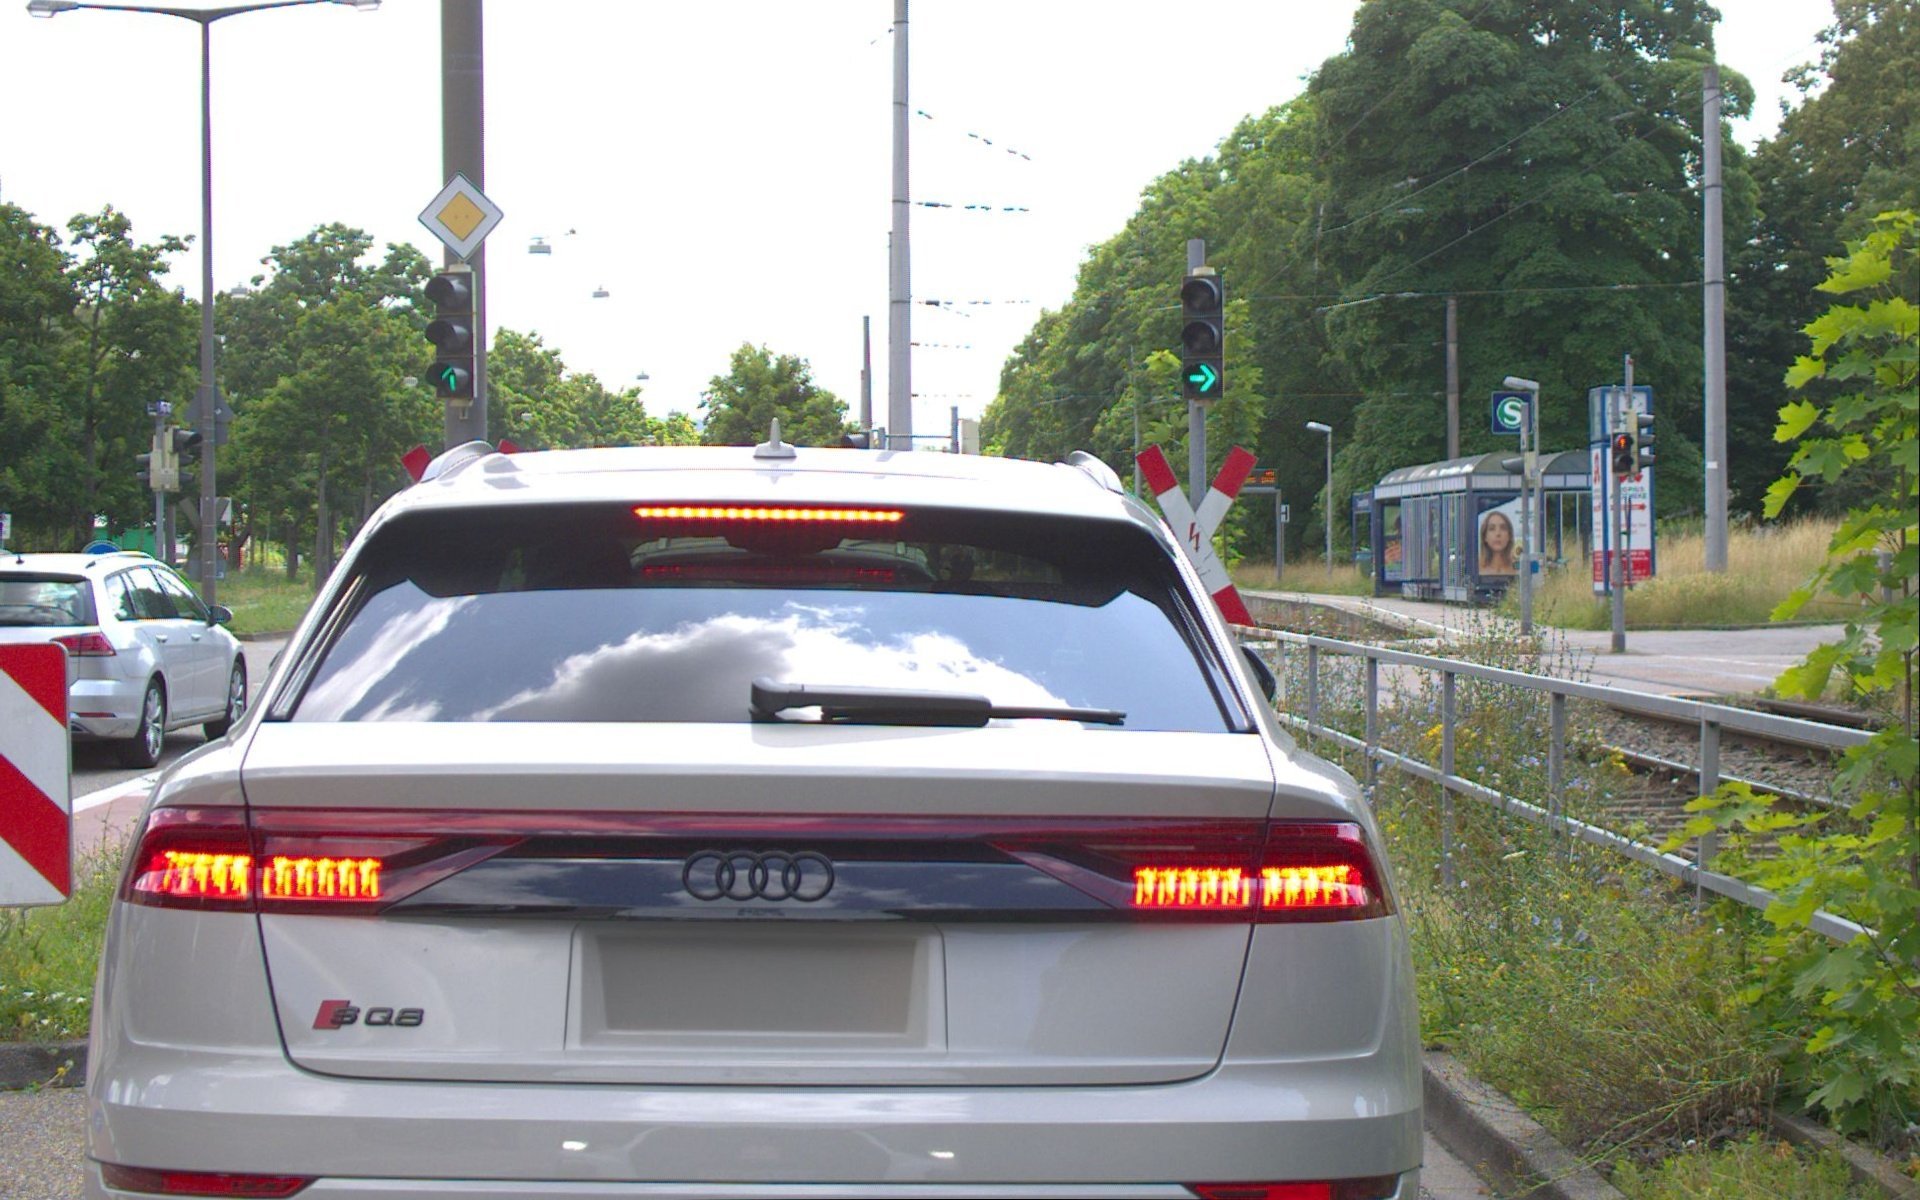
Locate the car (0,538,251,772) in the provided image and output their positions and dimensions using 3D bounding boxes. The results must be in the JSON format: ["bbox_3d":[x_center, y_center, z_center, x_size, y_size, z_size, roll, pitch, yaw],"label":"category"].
[{"bbox_3d":[-6.361,0.333,24.609,1.785,1.520,4.301,1,1,-2],"label":"car"}]

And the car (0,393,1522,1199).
[{"bbox_3d":[-0.318,0.568,6.623,1.981,1.678,4.574,1,1,-1],"label":"car"}]

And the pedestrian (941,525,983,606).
[{"bbox_3d":[0.033,-0.651,64.897,0.653,1.508,0.718,-1,1,-10],"label":"pedestrian"}]
